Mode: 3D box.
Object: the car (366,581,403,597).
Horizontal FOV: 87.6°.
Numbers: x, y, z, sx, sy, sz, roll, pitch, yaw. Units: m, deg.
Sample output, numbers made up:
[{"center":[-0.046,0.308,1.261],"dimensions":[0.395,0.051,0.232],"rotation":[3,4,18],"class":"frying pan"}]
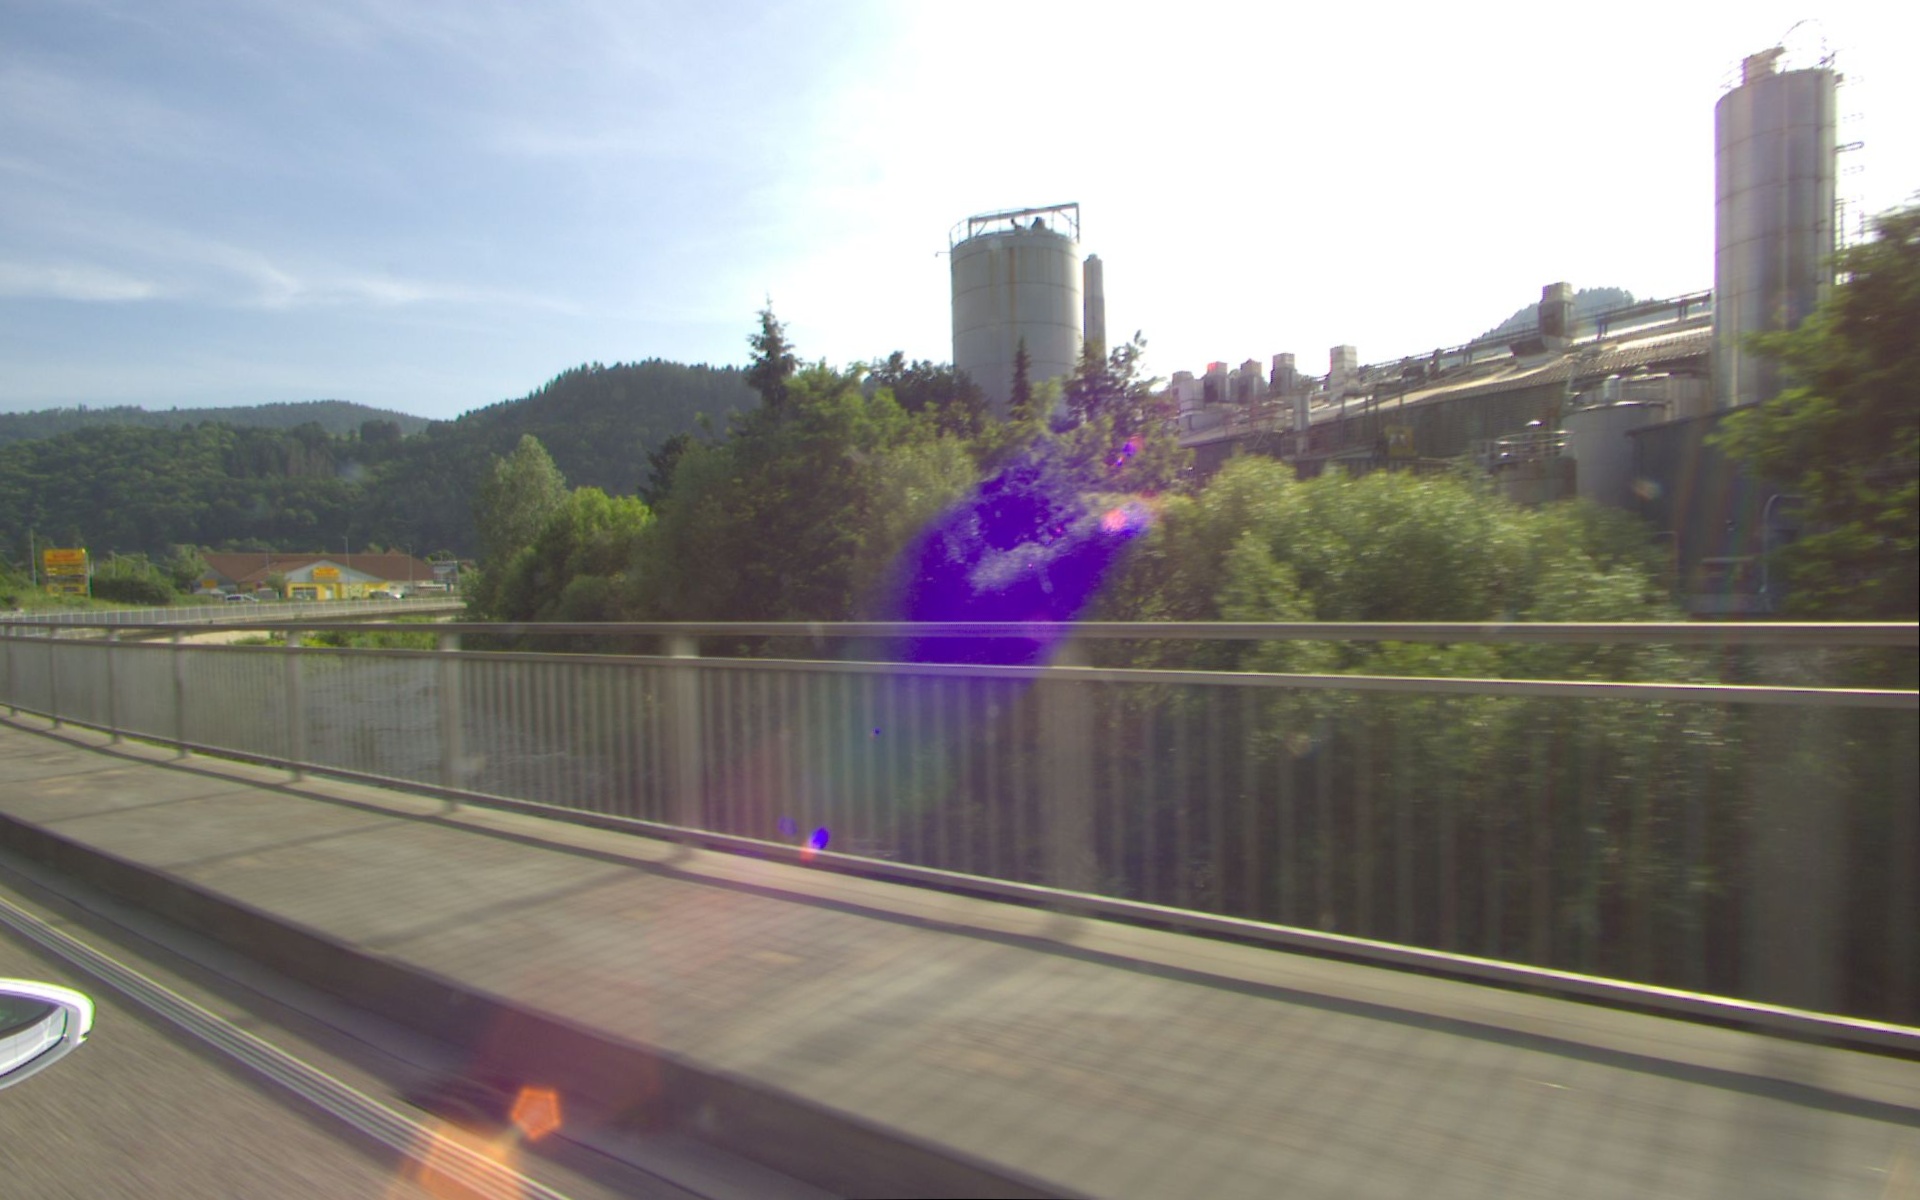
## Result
[{"center":[-80.403,-1.549,139.991],"dimensions":[3.922,2.038,2.002],"rotation":[0,-3,-1],"class":"car"}]
